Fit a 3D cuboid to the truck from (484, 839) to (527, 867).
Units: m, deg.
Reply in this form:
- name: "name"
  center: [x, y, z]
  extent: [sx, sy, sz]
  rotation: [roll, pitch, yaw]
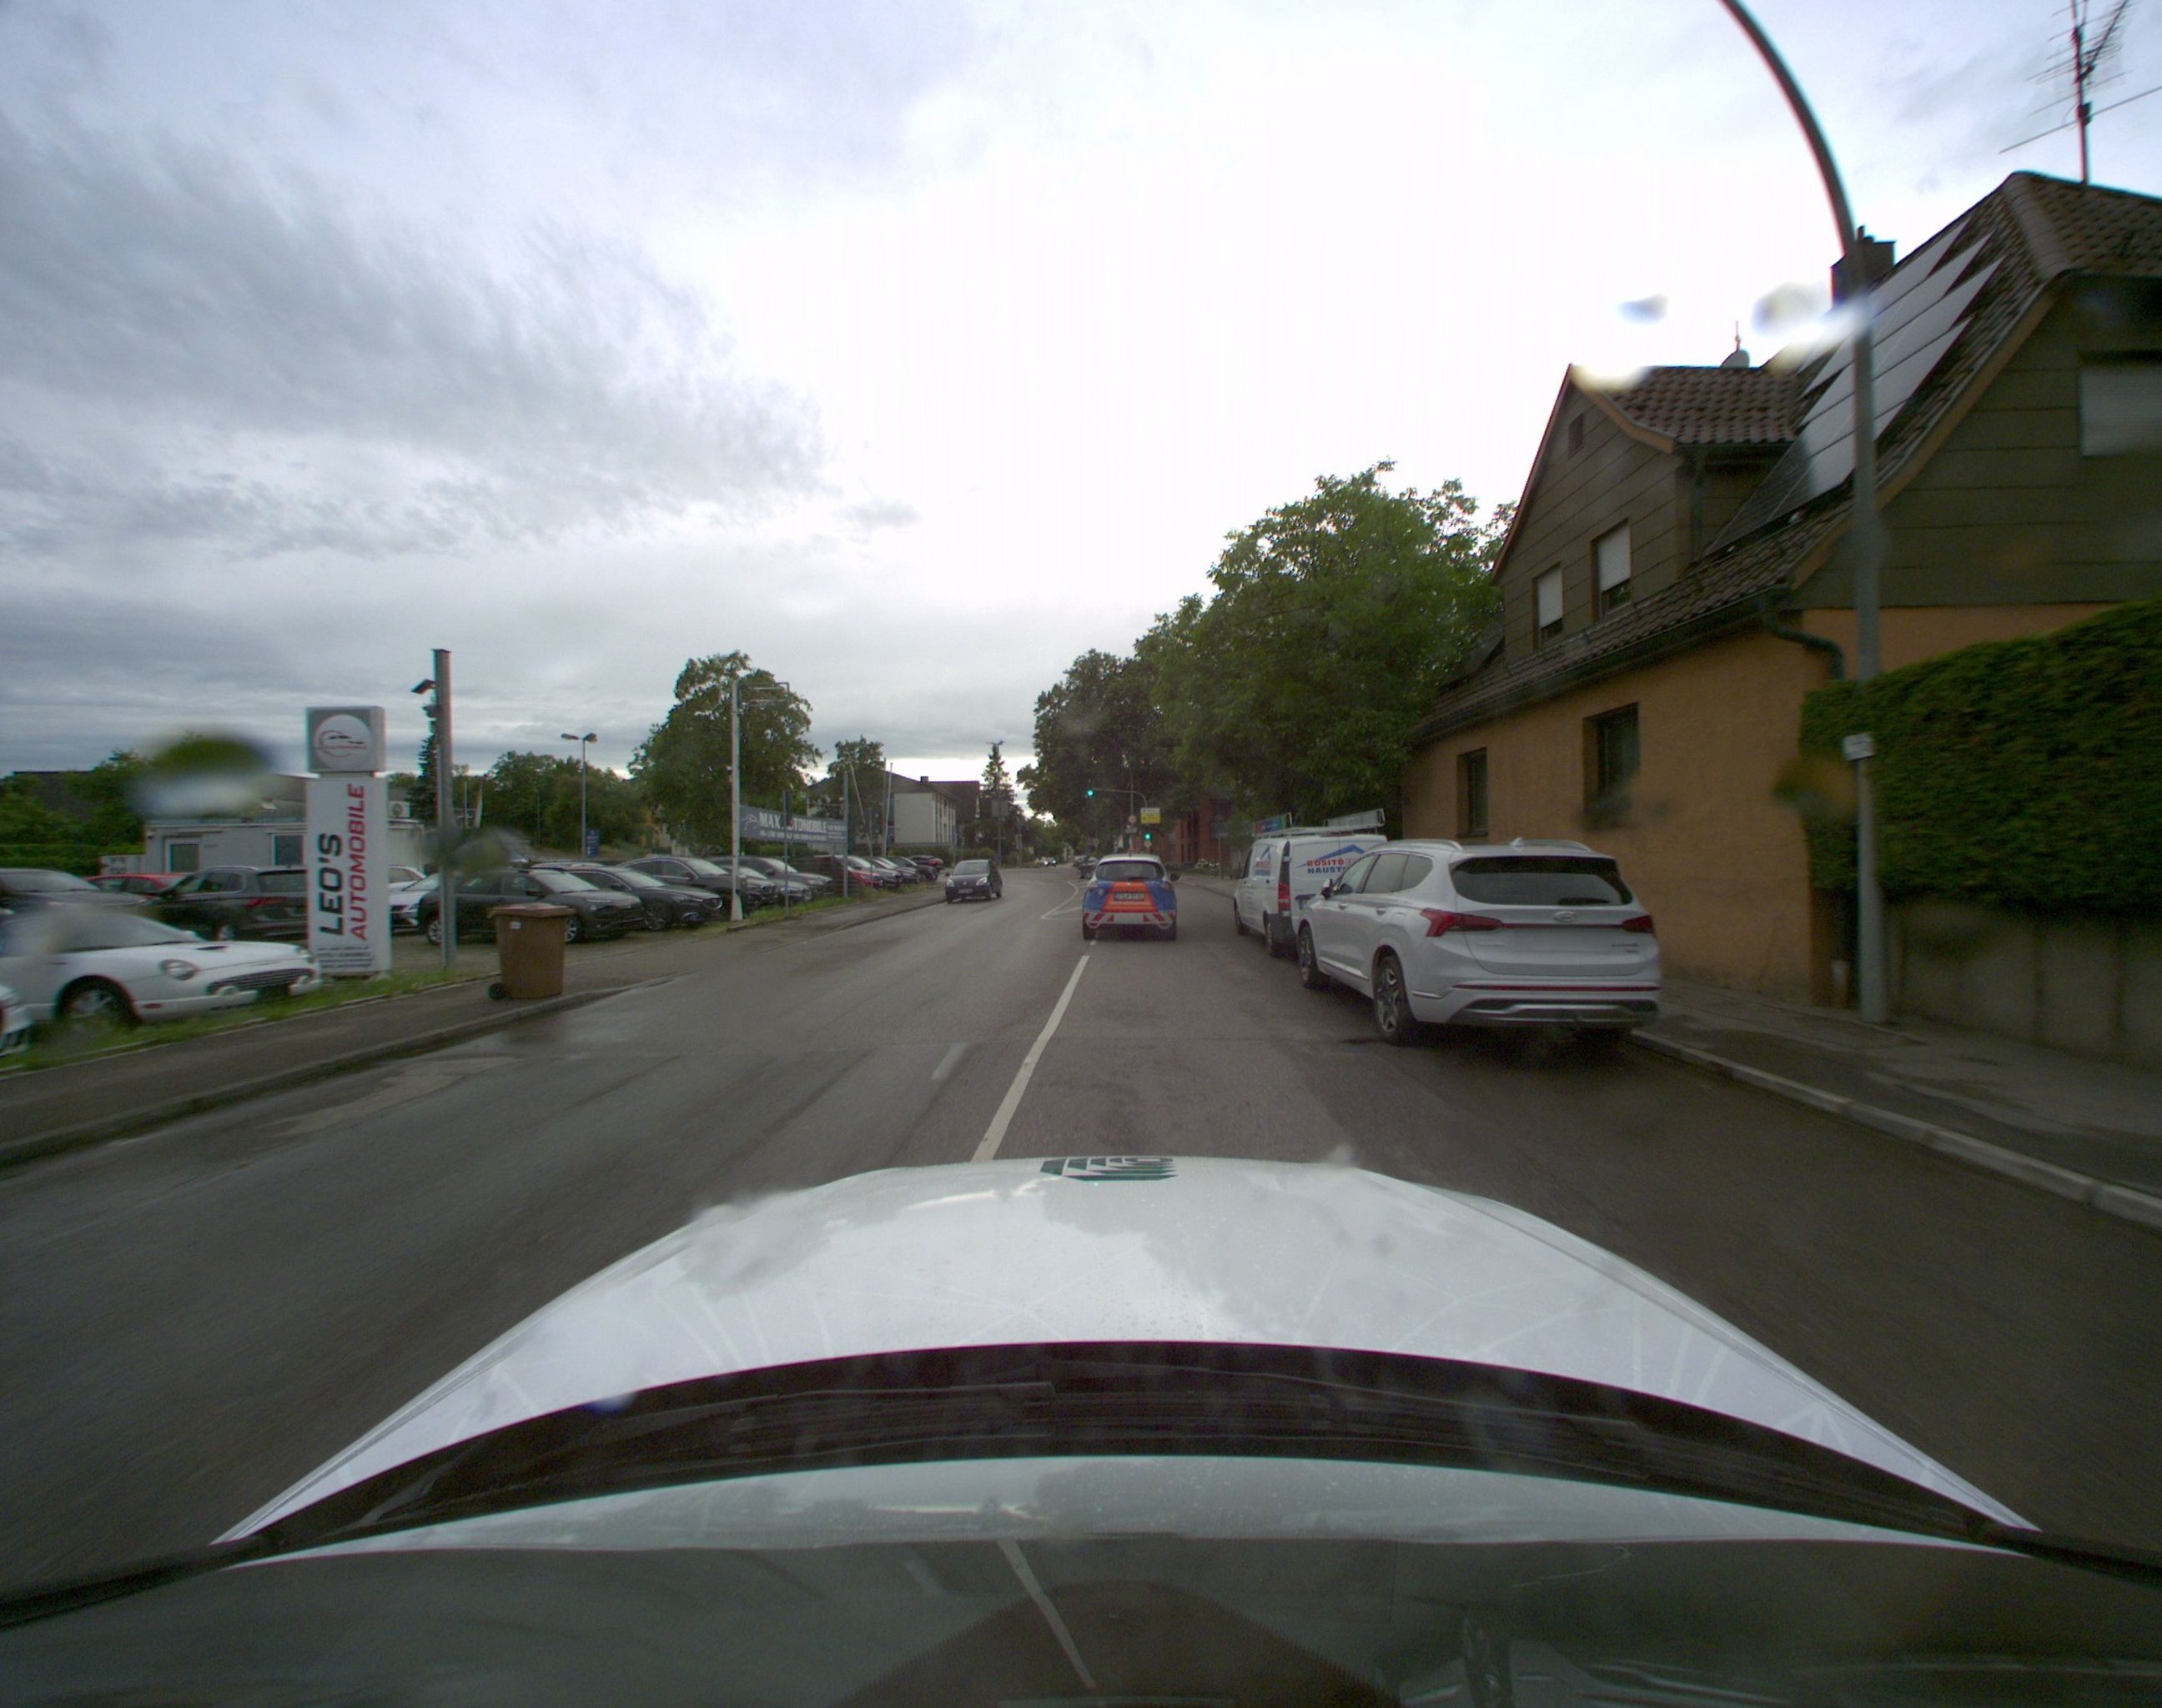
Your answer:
- name: "truck"
  center: [-56.109, -0.139, 79.351]
  extent: [5.487, 2.539, 2.013]
  rotation: [1, 1, 39]

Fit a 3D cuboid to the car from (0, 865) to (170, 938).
- name: "car"
  center: [-22.452, 1.002, 17.430]
  extent: [3.725, 1.438, 1.786]
  rotation: [-1, 0, -3]

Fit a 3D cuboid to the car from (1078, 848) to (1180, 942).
- name: "car"
  center: [1.011, 0.699, 16.115]
  extent: [1.737, 1.581, 4.006]
  rotation: [-1, 1, 5]

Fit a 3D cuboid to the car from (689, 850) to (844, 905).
- name: "car"
  center: [-10.306, 0.751, 26.909]
  extent: [4.331, 1.690, 1.960]
  rotation: [-1, 0, 2]

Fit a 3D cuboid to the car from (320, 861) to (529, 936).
- name: "car"
  center: [-15.701, 0.996, 19.793]
  extent: [1.685, 1.530, 4.002]
  rotation: [-2, 0, 2]

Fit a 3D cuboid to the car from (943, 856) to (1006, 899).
- name: "car"
  center: [-3.894, 0.833, 30.284]
  extent: [1.620, 1.433, 3.686]
  rotation: [-1, 0, 3]

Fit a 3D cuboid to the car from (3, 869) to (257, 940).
- name: "car"
  center: [-23.233, 1.206, 20.023]
  extent: [3.975, 1.530, 1.837]
  rotation: [-1, 0, -1]

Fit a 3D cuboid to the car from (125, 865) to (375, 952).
- name: "car"
  center: [-16.276, 1.009, 15.977]
  extent: [3.953, 1.499, 1.947]
  rotation: [-1, 0, 20]

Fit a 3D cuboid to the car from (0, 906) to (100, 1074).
- name: "car"
  center: [-11.318, 1.216, 6.632]
  extent: [4.361, 1.374, 1.889]
  rotation: [-1, 0, 1]

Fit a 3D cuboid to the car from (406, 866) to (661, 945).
- name: "car"
  center: [-11.082, 1.011, 16.690]
  extent: [3.972, 1.464, 1.840]
  rotation: [-1, 0, 2]

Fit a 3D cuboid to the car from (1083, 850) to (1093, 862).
- name: "car"
  center: [1.244, 0.305, 143.061]
  extent: [1.639, 2.017, 3.713]
  rotation: [0, 1, -1]

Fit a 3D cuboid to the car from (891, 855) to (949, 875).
- name: "car"
  center: [-12.478, 0.834, 63.272]
  extent: [3.963, 1.428, 1.805]
  rotation: [0, 1, 9]

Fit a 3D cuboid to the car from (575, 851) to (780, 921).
- name: "car"
  center: [-10.533, 0.803, 21.512]
  extent: [4.331, 1.691, 2.059]
  rotation: [-1, 0, 2]

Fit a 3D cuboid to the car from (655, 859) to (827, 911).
- name: "car"
  center: [-10.145, 0.897, 24.536]
  extent: [4.331, 1.432, 1.960]
  rotation: [-1, 0, 2]

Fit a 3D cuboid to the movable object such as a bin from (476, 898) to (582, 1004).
- name: "movable object such as a bin"
  center: [-6.381, 1.103, 9.447]
  extent: [0.705, 1.130, 0.735]
  rotation: [0, 0, 2]

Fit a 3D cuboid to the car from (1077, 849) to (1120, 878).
- name: "car"
  center: [0.976, 0.526, 47.868]
  extent: [1.992, 1.574, 3.991]
  rotation: [0, 1, -7]

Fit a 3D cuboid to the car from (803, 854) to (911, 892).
- name: "car"
  center: [-9.300, 0.762, 34.042]
  extent: [3.970, 1.544, 1.805]
  rotation: [0, 0, 3]

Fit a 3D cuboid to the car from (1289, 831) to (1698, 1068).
- name: "car"
  center: [3.471, 0.670, 7.925]
  extent: [1.859, 1.665, 4.321]
  rotation: [0, 0, 1]

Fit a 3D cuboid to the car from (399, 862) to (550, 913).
- name: "car"
  center: [-19.255, 1.010, 26.105]
  extent: [1.685, 1.398, 4.002]
  rotation: [-2, 0, 2]

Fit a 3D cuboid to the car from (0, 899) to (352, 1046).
- name: "car"
  center: [-11.127, 1.266, 9.046]
  extent: [4.435, 1.332, 1.771]
  rotation: [-1, 0, 1]

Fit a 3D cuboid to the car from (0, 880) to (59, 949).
- name: "car"
  center: [-22.088, 1.173, 15.217]
  extent: [3.716, 1.272, 2.003]
  rotation: [-1, 0, 6]

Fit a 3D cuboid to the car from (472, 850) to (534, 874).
- name: "car"
  center: [-49.095, 0.652, 69.223]
  extent: [3.967, 1.994, 2.004]
  rotation: [0, 1, 6]

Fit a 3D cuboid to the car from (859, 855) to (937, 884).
- name: "car"
  center: [-9.745, 0.813, 43.581]
  extent: [3.945, 1.530, 1.617]
  rotation: [0, 1, -9]

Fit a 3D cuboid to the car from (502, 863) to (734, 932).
- name: "car"
  center: [-10.769, 0.986, 19.178]
  extent: [4.331, 1.464, 1.942]
  rotation: [-1, 0, 2]

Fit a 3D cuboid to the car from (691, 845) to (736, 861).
- name: "car"
  center: [-40.890, -0.151, 90.678]
  extent: [1.974, 1.723, 4.025]
  rotation: [1, 1, 38]

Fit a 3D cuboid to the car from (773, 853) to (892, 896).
- name: "car"
  center: [-9.498, 0.761, 31.273]
  extent: [3.970, 1.544, 1.805]
  rotation: [0, 0, 3]

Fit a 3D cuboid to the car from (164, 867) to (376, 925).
- name: "car"
  center: [-22.170, 1.122, 22.396]
  extent: [3.924, 1.414, 1.743]
  rotation: [-1, 0, -3]

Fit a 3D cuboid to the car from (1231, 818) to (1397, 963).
- name: "car"
  center: [3.722, 0.472, 13.885]
  extent: [1.770, 2.029, 4.759]
  rotation: [0, 1, 4]

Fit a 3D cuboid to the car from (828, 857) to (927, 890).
- name: "car"
  center: [-9.162, 0.863, 36.880]
  extent: [3.970, 1.441, 1.805]
  rotation: [0, 0, 3]

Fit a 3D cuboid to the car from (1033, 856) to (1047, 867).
- name: "car"
  center: [-5.865, 1.066, 115.479]
  extent: [1.937, 1.452, 4.294]
  rotation: [1, -1, -3]
